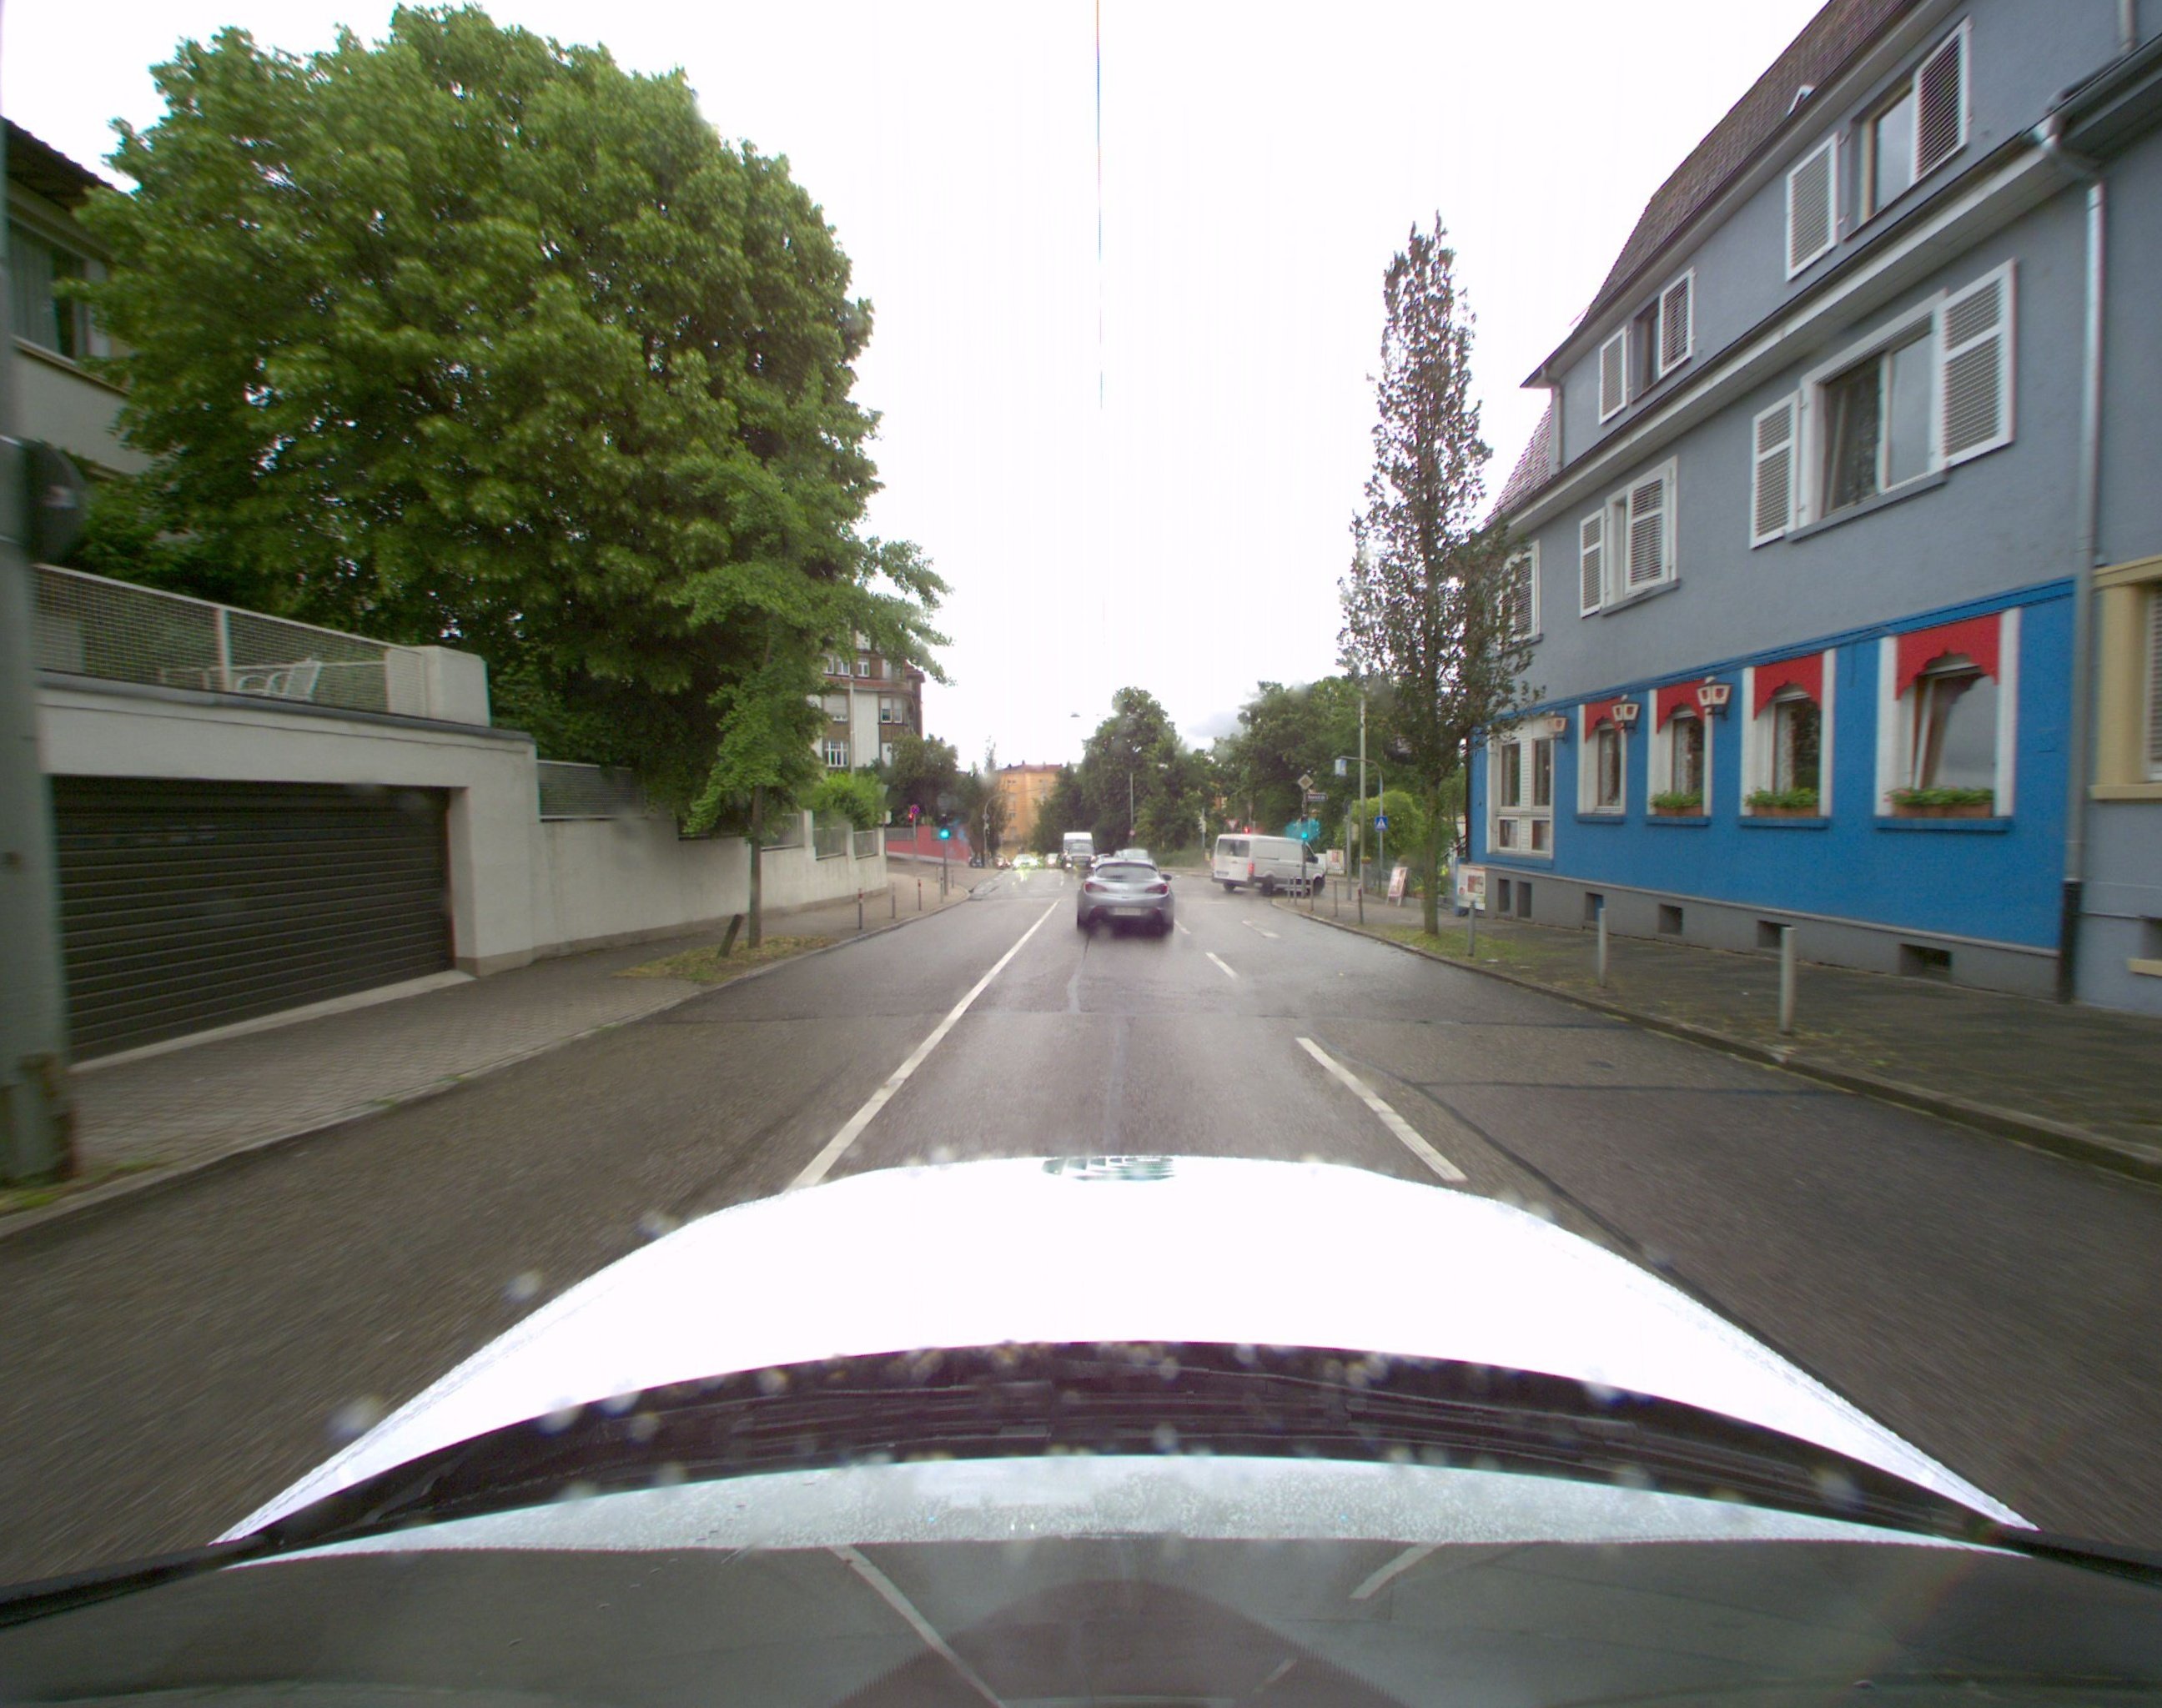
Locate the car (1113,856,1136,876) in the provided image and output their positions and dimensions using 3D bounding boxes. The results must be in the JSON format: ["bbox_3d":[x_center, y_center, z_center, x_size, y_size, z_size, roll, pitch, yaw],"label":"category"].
[{"bbox_3d":[3.171,0.874,59.927,1.379,1.412,3.454,-2,0,-1],"label":"car"}]

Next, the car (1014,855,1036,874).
[{"bbox_3d":[-5.049,0.948,73.499,1.849,1.486,5.360,-1,1,-4],"label":"car"}]

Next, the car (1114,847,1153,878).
[{"bbox_3d":[2.578,0.469,40.794,1.770,1.430,3.786,-1,-2,1],"label":"car"}]

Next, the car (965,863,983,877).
[{"bbox_3d":[-12.474,1.852,95.004,1.815,1.612,3.984,1,-2,-11],"label":"car"}]

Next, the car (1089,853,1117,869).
[{"bbox_3d":[2.321,0.747,85.865,1.818,1.495,3.980,-6,0,-14],"label":"car"}]

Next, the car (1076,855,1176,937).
[{"bbox_3d":[0.869,0.768,16.671,1.808,1.429,4.002,0,0,2],"label":"car"}]

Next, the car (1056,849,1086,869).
[{"bbox_3d":[-0.899,0.417,67.953,1.874,1.575,4.572,-1,-1,-9],"label":"car"}]

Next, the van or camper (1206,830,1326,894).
[{"bbox_3d":[7.685,0.377,33.445,5.448,2.325,2.085,3,2,-45],"label":"van or camper"}]

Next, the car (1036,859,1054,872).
[{"bbox_3d":[-4.538,1.378,101.355,1.641,1.536,3.701,-1,0,-12],"label":"car"}]

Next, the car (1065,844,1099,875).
[{"bbox_3d":[0.014,0.267,46.167,1.816,1.652,4.344,0,1,-1],"label":"car"}]

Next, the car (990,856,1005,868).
[{"bbox_3d":[-13.408,1.274,130.695,1.785,1.855,3.979,0,-1,-15],"label":"car"}]

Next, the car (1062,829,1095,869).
[{"bbox_3d":[-0.231,-0.273,55.018,2.112,2.546,5.536,-1,-1,-2],"label":"car"}]

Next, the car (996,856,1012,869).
[{"bbox_3d":[-10.641,1.179,112.400,1.846,1.584,4.262,2,-1,-11],"label":"car"}]

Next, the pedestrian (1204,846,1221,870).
[{"bbox_3d":[9.075,0.270,56.100,0.767,1.605,0.961,-3,0,-14],"label":"pedestrian"}]

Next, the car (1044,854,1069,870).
[{"bbox_3d":[-2.290,0.778,76.153,1.774,1.497,4.248,1,-1,-10],"label":"car"}]
